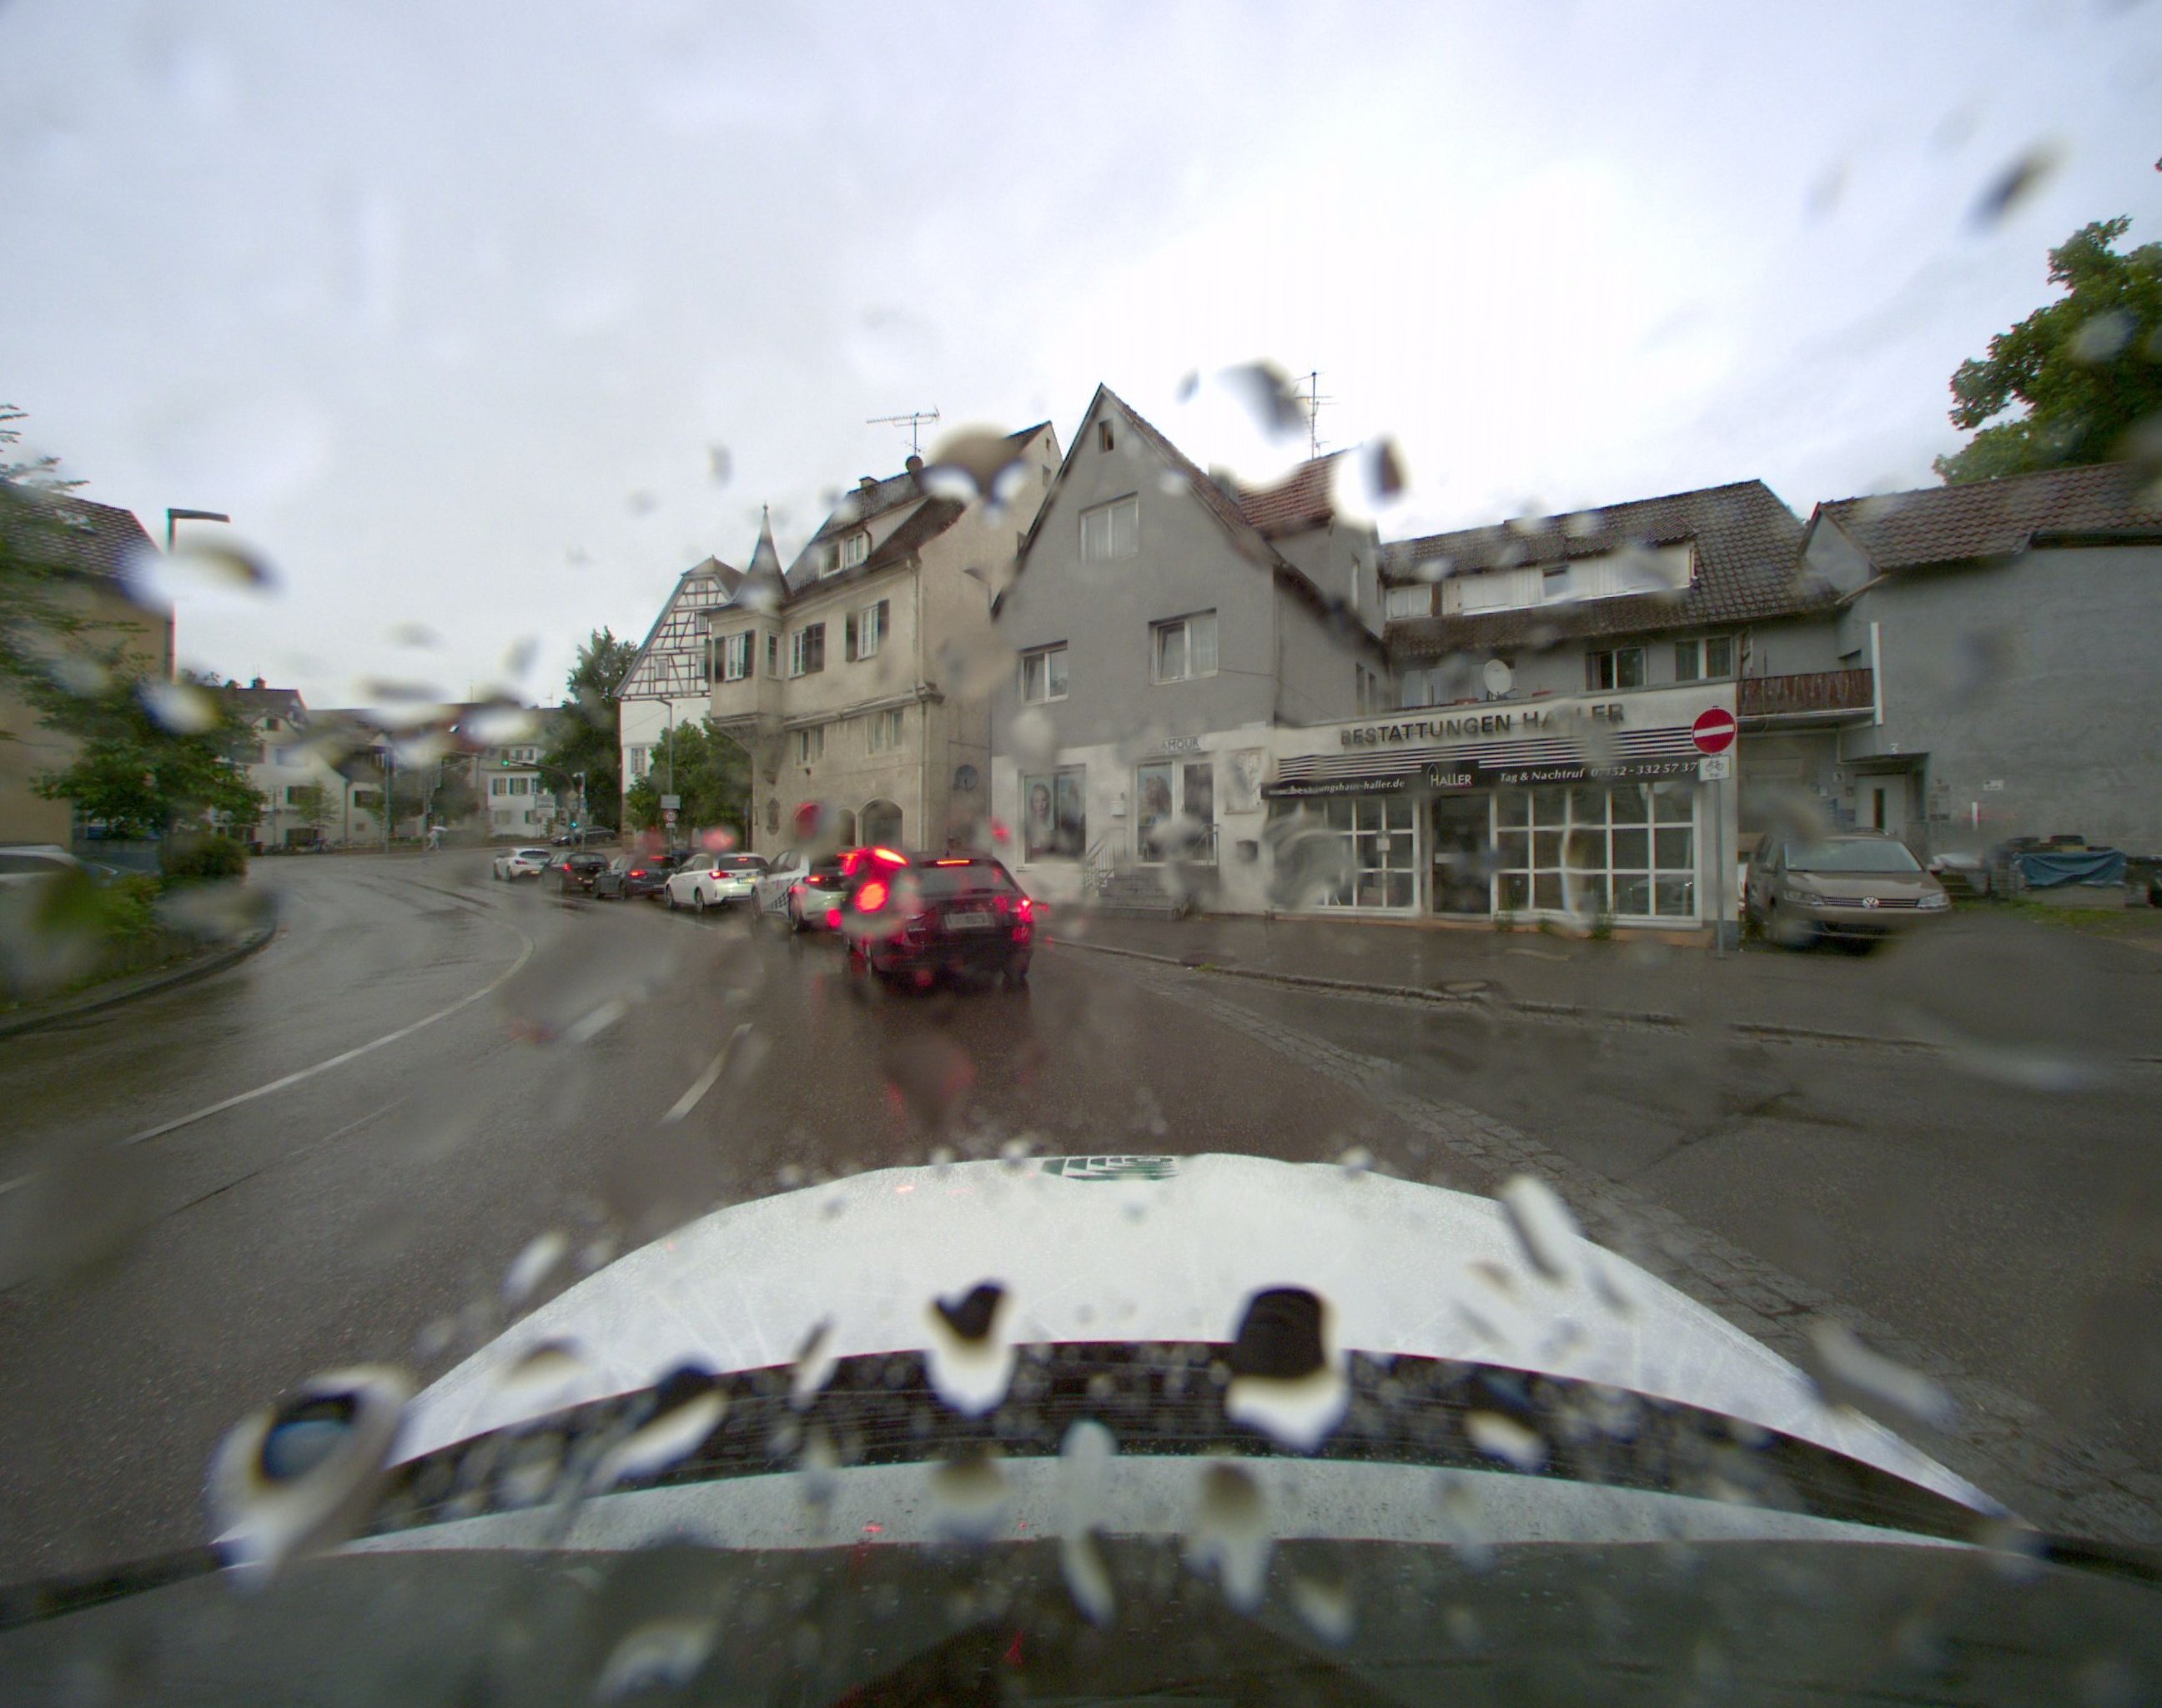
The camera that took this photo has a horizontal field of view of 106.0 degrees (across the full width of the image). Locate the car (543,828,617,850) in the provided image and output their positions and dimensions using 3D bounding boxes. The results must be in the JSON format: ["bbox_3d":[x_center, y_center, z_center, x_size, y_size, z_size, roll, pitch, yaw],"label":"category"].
[{"bbox_3d":[-37.543,-1.092,61.137,1.632,1.389,4.555,7,3,23],"label":"car"}]

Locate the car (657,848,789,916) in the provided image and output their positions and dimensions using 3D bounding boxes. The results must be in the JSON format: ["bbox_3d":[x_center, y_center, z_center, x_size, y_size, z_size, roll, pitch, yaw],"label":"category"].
[{"bbox_3d":[-9.120,0.624,20.587,1.801,1.465,4.114,-3,2,-42],"label":"car"}]

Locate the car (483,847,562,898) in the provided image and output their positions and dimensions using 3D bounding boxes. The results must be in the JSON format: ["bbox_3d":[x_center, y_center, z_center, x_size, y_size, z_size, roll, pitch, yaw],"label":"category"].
[{"bbox_3d":[-24.780,0.750,36.099,3.911,2.090,1.992,1,2,42],"label":"car"}]

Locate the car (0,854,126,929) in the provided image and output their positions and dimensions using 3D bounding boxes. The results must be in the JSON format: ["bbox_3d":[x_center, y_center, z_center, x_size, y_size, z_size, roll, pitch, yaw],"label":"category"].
[{"bbox_3d":[-22.399,0.772,16.524,1.692,1.455,3.558,0,1,24],"label":"car"}]

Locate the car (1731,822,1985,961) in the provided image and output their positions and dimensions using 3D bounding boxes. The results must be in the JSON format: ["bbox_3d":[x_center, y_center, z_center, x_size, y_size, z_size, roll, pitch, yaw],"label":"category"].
[{"bbox_3d":[11.717,0.396,12.683,1.905,1.727,4.698,-1,2,32],"label":"car"}]

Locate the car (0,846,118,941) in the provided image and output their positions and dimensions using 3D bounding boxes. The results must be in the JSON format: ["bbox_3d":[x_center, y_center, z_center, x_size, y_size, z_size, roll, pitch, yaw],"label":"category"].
[{"bbox_3d":[-20.135,0.719,14.458,1.692,1.685,3.558,0,1,24],"label":"car"}]

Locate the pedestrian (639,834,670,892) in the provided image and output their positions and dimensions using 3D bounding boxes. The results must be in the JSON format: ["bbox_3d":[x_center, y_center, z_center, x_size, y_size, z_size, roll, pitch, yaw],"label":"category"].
[{"bbox_3d":[-17.478,0.367,33.385,0.872,2.326,1.216,-1,0,-40],"label":"pedestrian"}]

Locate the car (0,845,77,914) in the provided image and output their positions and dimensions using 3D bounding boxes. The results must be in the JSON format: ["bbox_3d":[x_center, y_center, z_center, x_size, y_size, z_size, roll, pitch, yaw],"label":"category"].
[{"bbox_3d":[-26.205,0.615,18.729,1.692,1.576,3.558,0,1,24],"label":"car"}]

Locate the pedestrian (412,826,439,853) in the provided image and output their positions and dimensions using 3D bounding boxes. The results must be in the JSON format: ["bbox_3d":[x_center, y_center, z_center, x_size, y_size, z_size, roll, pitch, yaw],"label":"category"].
[{"bbox_3d":[-44.791,-0.985,55.643,0.992,1.742,1.157,-1,0,32],"label":"pedestrian"}]

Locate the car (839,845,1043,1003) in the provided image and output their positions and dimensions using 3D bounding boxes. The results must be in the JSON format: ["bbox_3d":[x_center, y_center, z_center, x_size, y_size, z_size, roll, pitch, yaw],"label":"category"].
[{"bbox_3d":[-1.950,0.655,10.165,1.738,1.450,4.212,-2,2,-21],"label":"car"}]

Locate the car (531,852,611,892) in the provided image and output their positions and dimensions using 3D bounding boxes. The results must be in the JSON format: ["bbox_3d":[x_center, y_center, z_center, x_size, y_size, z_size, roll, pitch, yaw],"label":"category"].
[{"bbox_3d":[-18.920,0.633,30.142,3.579,1.312,1.678,1,2,44],"label":"car"}]

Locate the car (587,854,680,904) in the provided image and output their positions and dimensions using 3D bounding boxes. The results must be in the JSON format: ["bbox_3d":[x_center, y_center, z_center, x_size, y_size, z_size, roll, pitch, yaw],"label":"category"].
[{"bbox_3d":[-14.139,0.738,25.673,3.721,1.361,1.533,1,2,44],"label":"car"}]

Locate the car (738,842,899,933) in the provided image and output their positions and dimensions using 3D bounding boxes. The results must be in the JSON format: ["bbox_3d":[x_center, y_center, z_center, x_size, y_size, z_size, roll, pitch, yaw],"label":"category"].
[{"bbox_3d":[-5.314,0.575,16.125,1.803,1.517,4.194,-2,1,-36],"label":"car"}]
